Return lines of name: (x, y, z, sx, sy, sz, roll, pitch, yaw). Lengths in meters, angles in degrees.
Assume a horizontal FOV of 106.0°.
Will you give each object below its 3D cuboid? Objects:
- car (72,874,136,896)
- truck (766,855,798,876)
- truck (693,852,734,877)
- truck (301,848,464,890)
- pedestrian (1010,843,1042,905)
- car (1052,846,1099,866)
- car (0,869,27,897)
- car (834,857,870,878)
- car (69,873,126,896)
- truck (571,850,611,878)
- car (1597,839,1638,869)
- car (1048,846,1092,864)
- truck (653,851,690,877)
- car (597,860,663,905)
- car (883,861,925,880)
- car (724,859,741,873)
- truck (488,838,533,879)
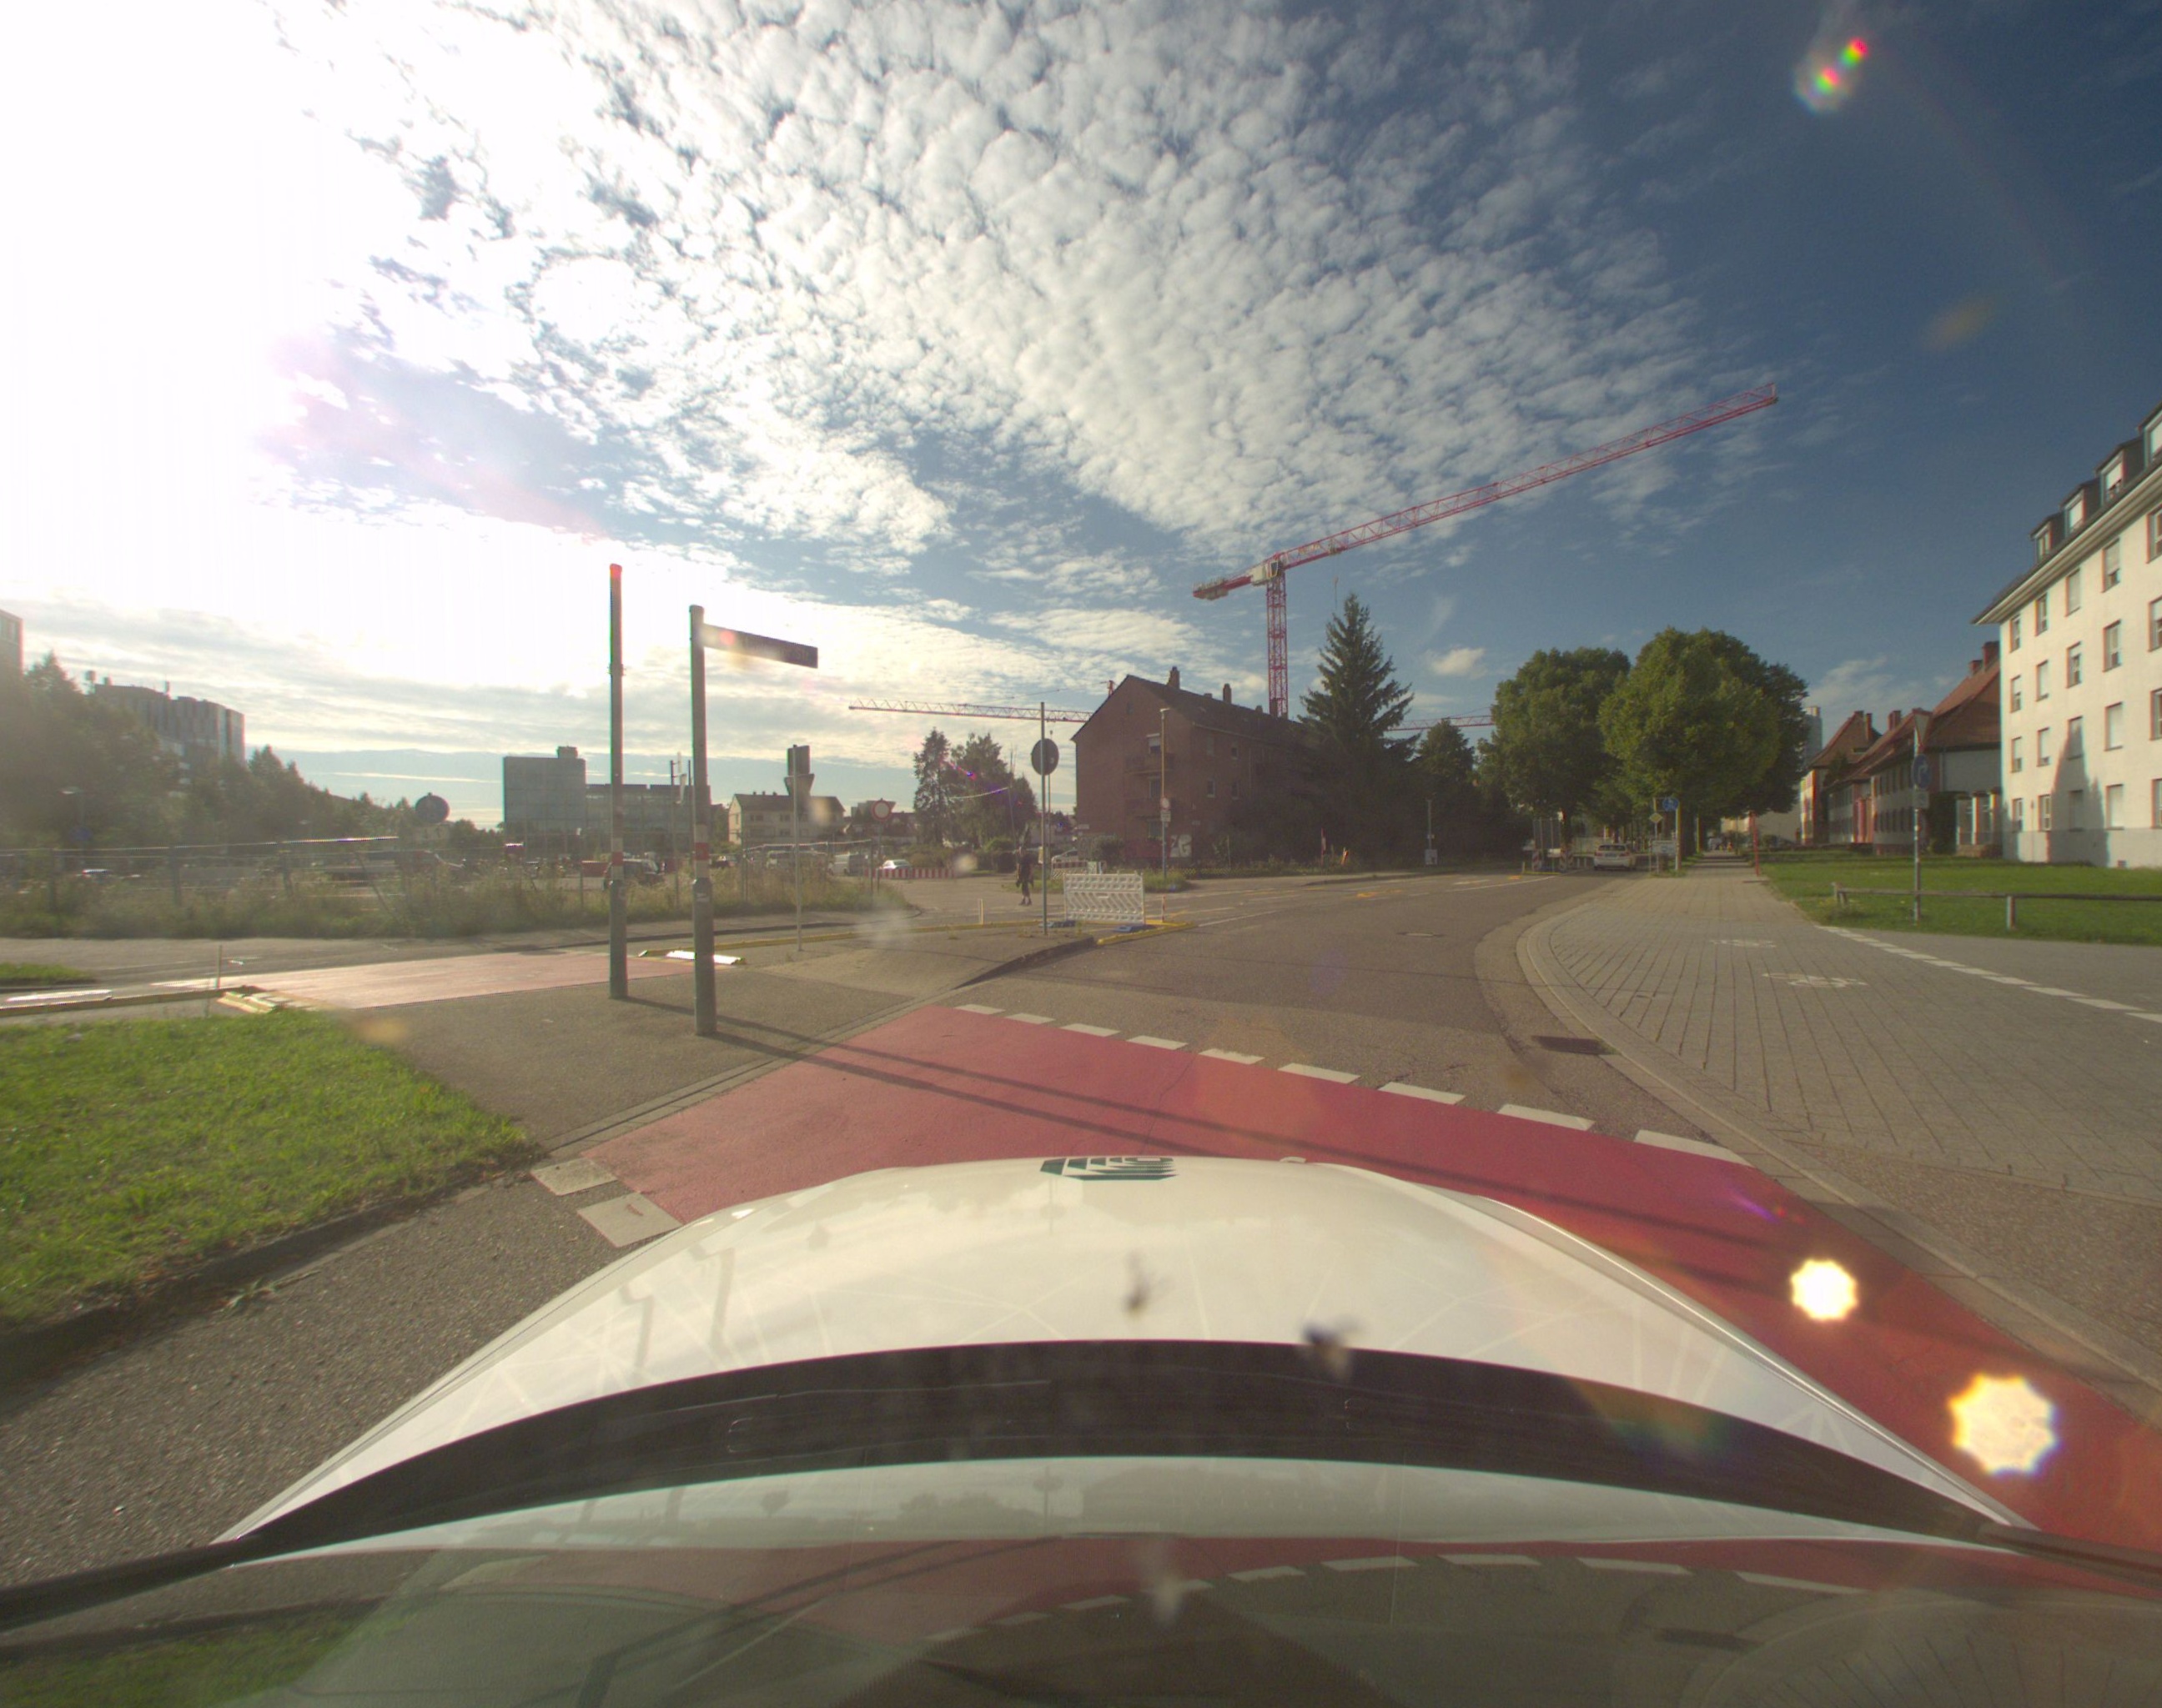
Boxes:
car: (-77.278, 2.419, 64.476, 1.909, 1.611, 4.613, -1, 0, -33)
truck: (-32.941, 1.246, 89.559, 1.989, 2.171, 5.346, -1, 0, -36)
truck: (-34.957, 0.976, 77.391, 2.304, 2.328, 5.575, -1, 0, -37)
truck: (-46.164, 0.917, 54.247, 7.891, 2.567, 3.042, -1, 0, -34)
pedestrian: (-1.696, 0.600, 25.177, 0.661, 1.871, 0.840, -1, 0, 22)
car: (-0.455, 0.174, 70.480, 3.968, 1.618, 1.776, -1, 0, 4)
car: (-75.392, 2.021, 56.182, 1.909, 1.903, 4.612, -1, 0, -34)
car: (-20.456, 1.179, 72.702, 1.894, 1.816, 3.956, -1, 0, -36)
car: (-77.137, 2.383, 63.955, 1.911, 1.611, 4.607, -1, 0, -38)
truck: (-43.231, 0.848, 71.754, 2.346, 2.328, 6.380, -1, 0, -37)
car: (30.397, -0.018, 46.123, 1.832, 1.572, 4.483, 1, 1, 35)
car: (-1.081, 0.093, 76.259, 3.982, 1.618, 1.769, -1, 0, -6)
truck: (-38.110, 0.880, 75.707, 2.073, 2.328, 5.575, -1, 0, -37)
car: (-19.612, 1.175, 35.585, 1.885, 1.816, 3.974, -1, 0, -20)
car: (-13.884, 1.254, 63.709, 1.729, 1.393, 3.956, -1, 0, -36)
car: (-48.822, 1.701, 114.075, 2.005, 1.860, 3.964, -1, 0, -27)
truck: (-47.745, 0.359, 68.047, 2.830, 3.207, 7.234, -1, 0, -37)
